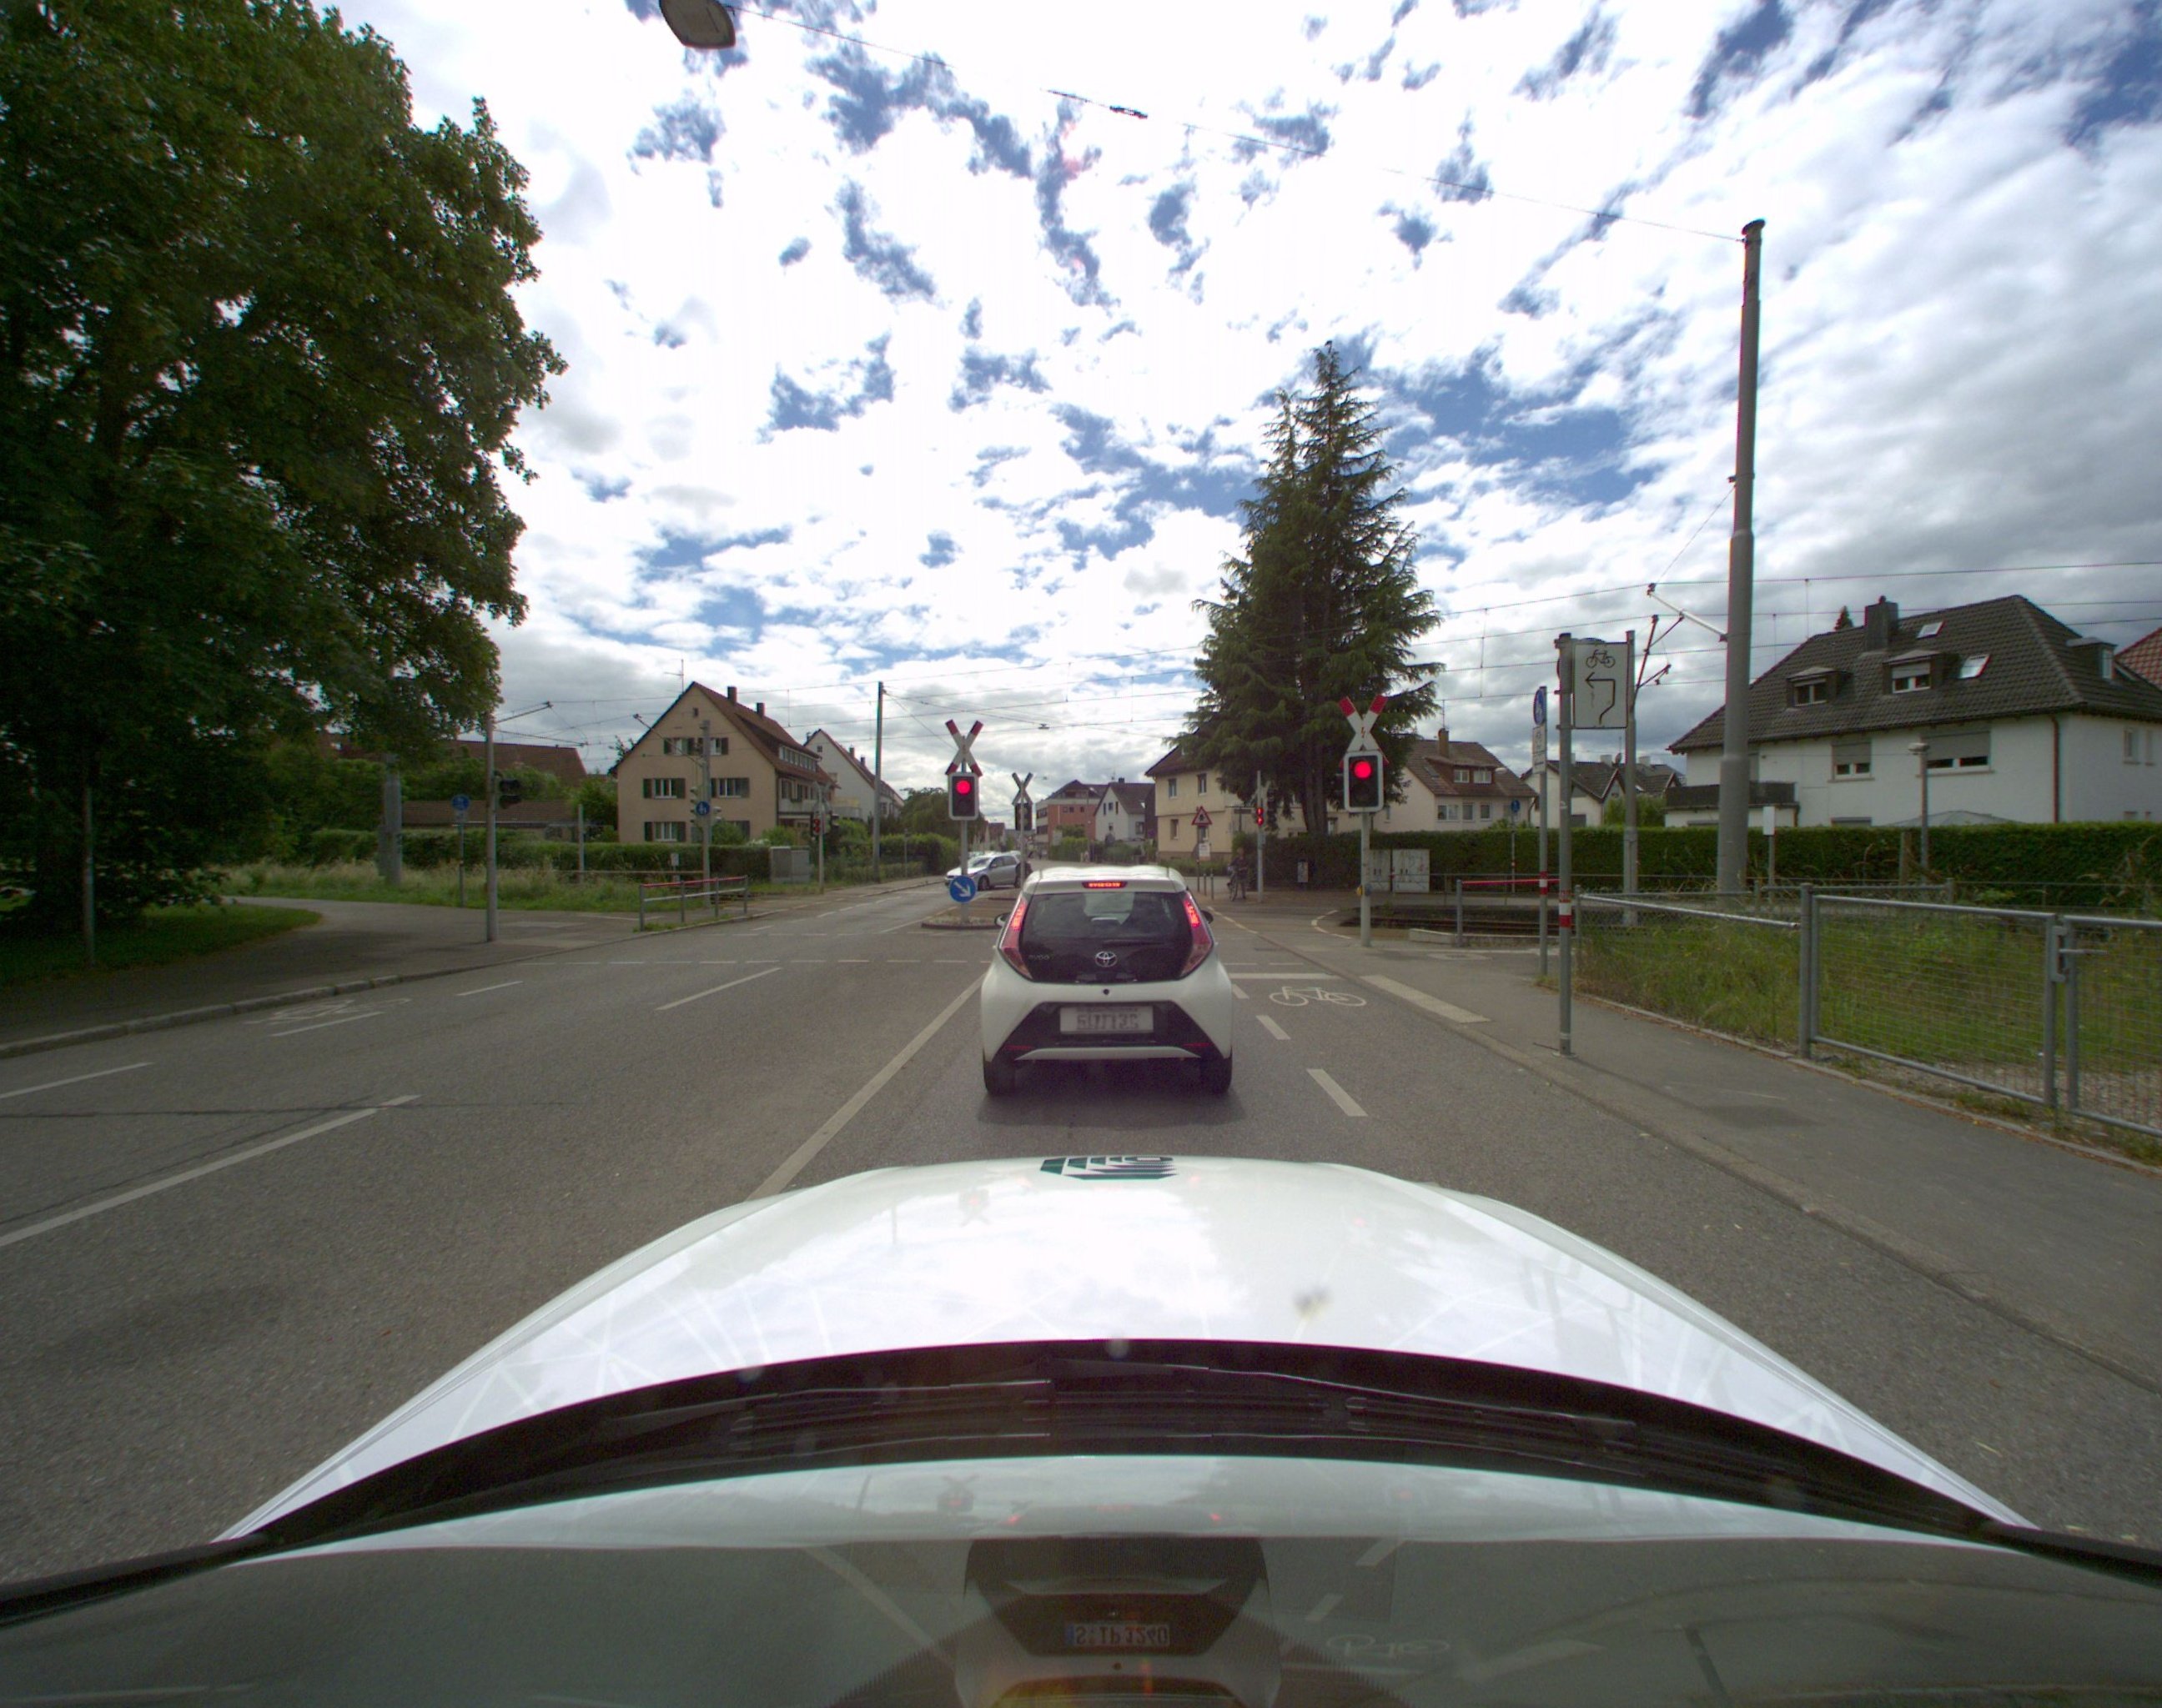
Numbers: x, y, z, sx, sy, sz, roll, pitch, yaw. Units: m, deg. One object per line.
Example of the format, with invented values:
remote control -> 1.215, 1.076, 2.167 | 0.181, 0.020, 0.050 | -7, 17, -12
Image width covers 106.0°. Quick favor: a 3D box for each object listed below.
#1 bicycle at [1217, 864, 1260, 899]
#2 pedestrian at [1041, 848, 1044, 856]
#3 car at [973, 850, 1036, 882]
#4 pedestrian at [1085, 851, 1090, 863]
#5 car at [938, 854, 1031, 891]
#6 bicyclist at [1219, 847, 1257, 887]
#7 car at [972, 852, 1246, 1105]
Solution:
bicycle -> 5.119, 0.872, 26.355 | 0.923, 1.040, 1.925 | -2, 0, 23
pedestrian -> -6.797, -0.314, 142.801 | 0.413, 1.437, 0.436 | 0, 0, -9
car -> -3.800, 0.594, 40.839 | 1.560, 1.510, 2.804 | 0, -1, 44
pedestrian -> 0.804, 0.395, 100.908 | 0.409, 1.437, 0.440 | 0, 0, 41
car -> -4.048, 0.731, 34.709 | 1.672, 1.458, 4.095 | 0, 0, 33
bicyclist -> 5.071, 0.425, 26.268 | 0.923, 1.247, 1.108 | -2, 0, 23
car -> 0.227, 0.761, 6.860 | 1.615, 1.486, 4.001 | -1, -1, 2
